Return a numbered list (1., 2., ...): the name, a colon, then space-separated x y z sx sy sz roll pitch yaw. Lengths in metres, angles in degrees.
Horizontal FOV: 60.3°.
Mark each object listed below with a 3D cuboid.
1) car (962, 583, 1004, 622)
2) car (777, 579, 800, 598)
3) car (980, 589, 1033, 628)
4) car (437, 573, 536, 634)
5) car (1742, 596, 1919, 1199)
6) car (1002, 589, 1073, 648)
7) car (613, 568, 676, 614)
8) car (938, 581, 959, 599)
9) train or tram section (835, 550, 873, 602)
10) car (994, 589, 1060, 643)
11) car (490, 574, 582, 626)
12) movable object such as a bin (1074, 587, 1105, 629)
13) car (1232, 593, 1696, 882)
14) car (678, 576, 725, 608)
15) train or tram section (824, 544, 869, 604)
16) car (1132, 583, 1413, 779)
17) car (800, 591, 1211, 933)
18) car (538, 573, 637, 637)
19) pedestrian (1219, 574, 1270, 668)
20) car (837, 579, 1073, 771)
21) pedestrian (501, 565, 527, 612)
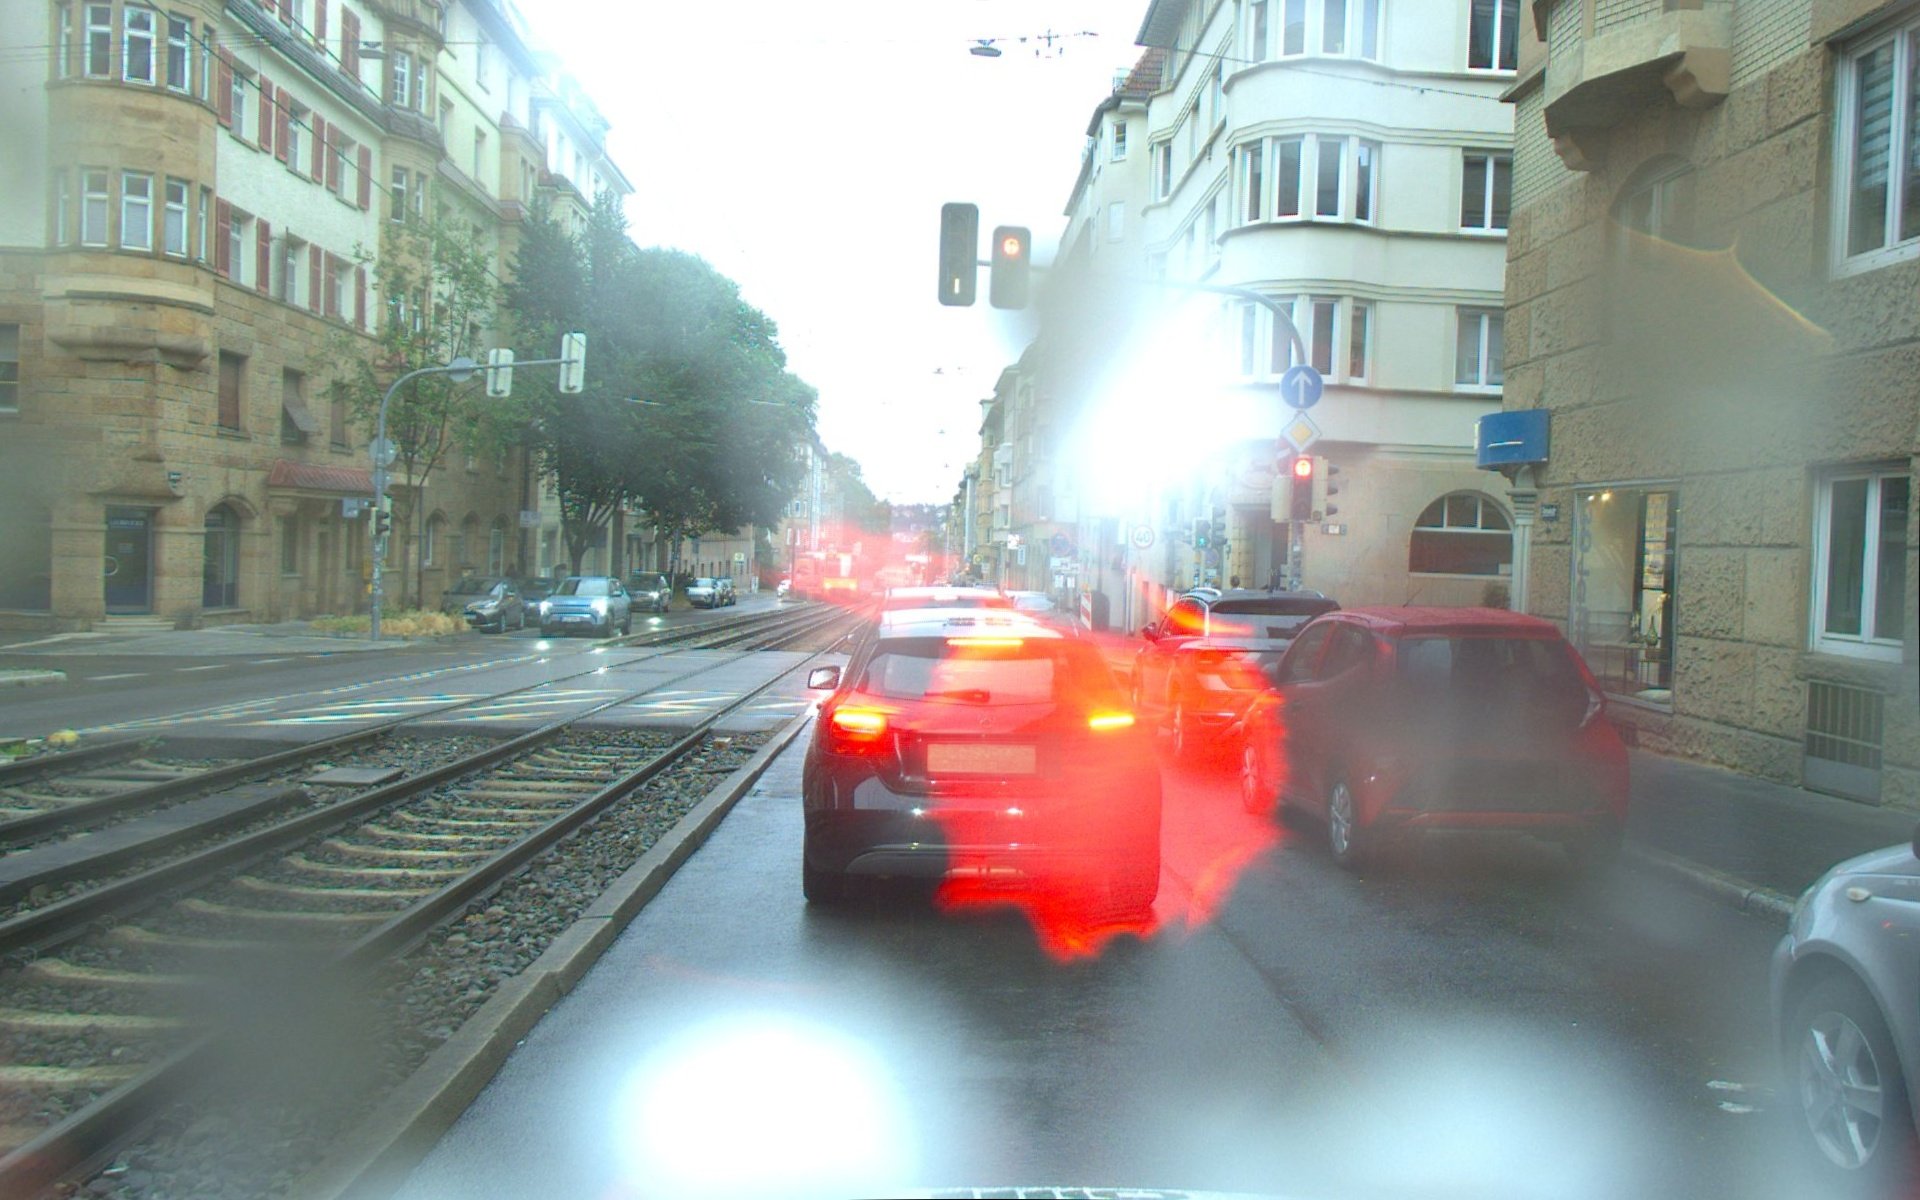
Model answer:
1. car: 1.044 0.116 74.487 1.803 1.636 4.761 1 0 1
2. car: -14.705 -0.973 142.023 1.745 1.529 4.060 1 0 -3
3. car: 1.716 0.314 61.950 1.753 1.410 4.394 1 0 -1
4. car: -12.951 0.101 45.482 1.656 1.556 4.173 1 0 -3
5. car: 3.076 0.760 3.058 1.562 1.513 3.521 1 0 -1
6. car: 1.999 0.473 43.633 1.675 1.435 4.817 1 0 1
7. car: -13.657 -0.419 71.799 1.914 1.772 4.777 4 1 -3
8. car: -1.104 -0.941 156.464 1.848 1.552 4.246 2 0 1
9. train or tram section: -8.951 -2.014 141.378 2.690 4.132 15.656 1 1 -2
10. car: 1.948 0.451 48.999 1.677 1.493 4.773 1 0 -1
11. car: -13.013 0.003 51.038 1.745 1.485 4.976 1 0 -3
12. movable object such as a bin: 4.690 0.283 59.902 0.960 1.494 1.272 1 0 -2
13. car: 2.971 0.728 10.535 1.672 1.478 3.530 2 0 -3
14. car: -13.920 -0.449 89.242 1.922 1.633 4.327 2 1 -2
15. train or tram section: -8.483 -1.922 125.162 2.690 4.132 17.208 1 1 -2
16. car: 2.823 0.670 15.805 1.830 1.576 3.990 2 0 -1
17. car: 0.177 0.713 9.283 1.797 1.478 3.901 1 0 -1
18. car: -10.041 0.139 44.848 1.883 1.646 4.126 1 0 -3
19. pedestrian: 5.318 0.384 30.922 0.788 1.717 0.754 1 -1 -2
20. car: -0.071 0.626 16.108 1.953 1.552 4.245 2 0 -1
21. pedestrian: -16.457 -0.415 61.029 0.713 1.692 0.770 2 0 -2
